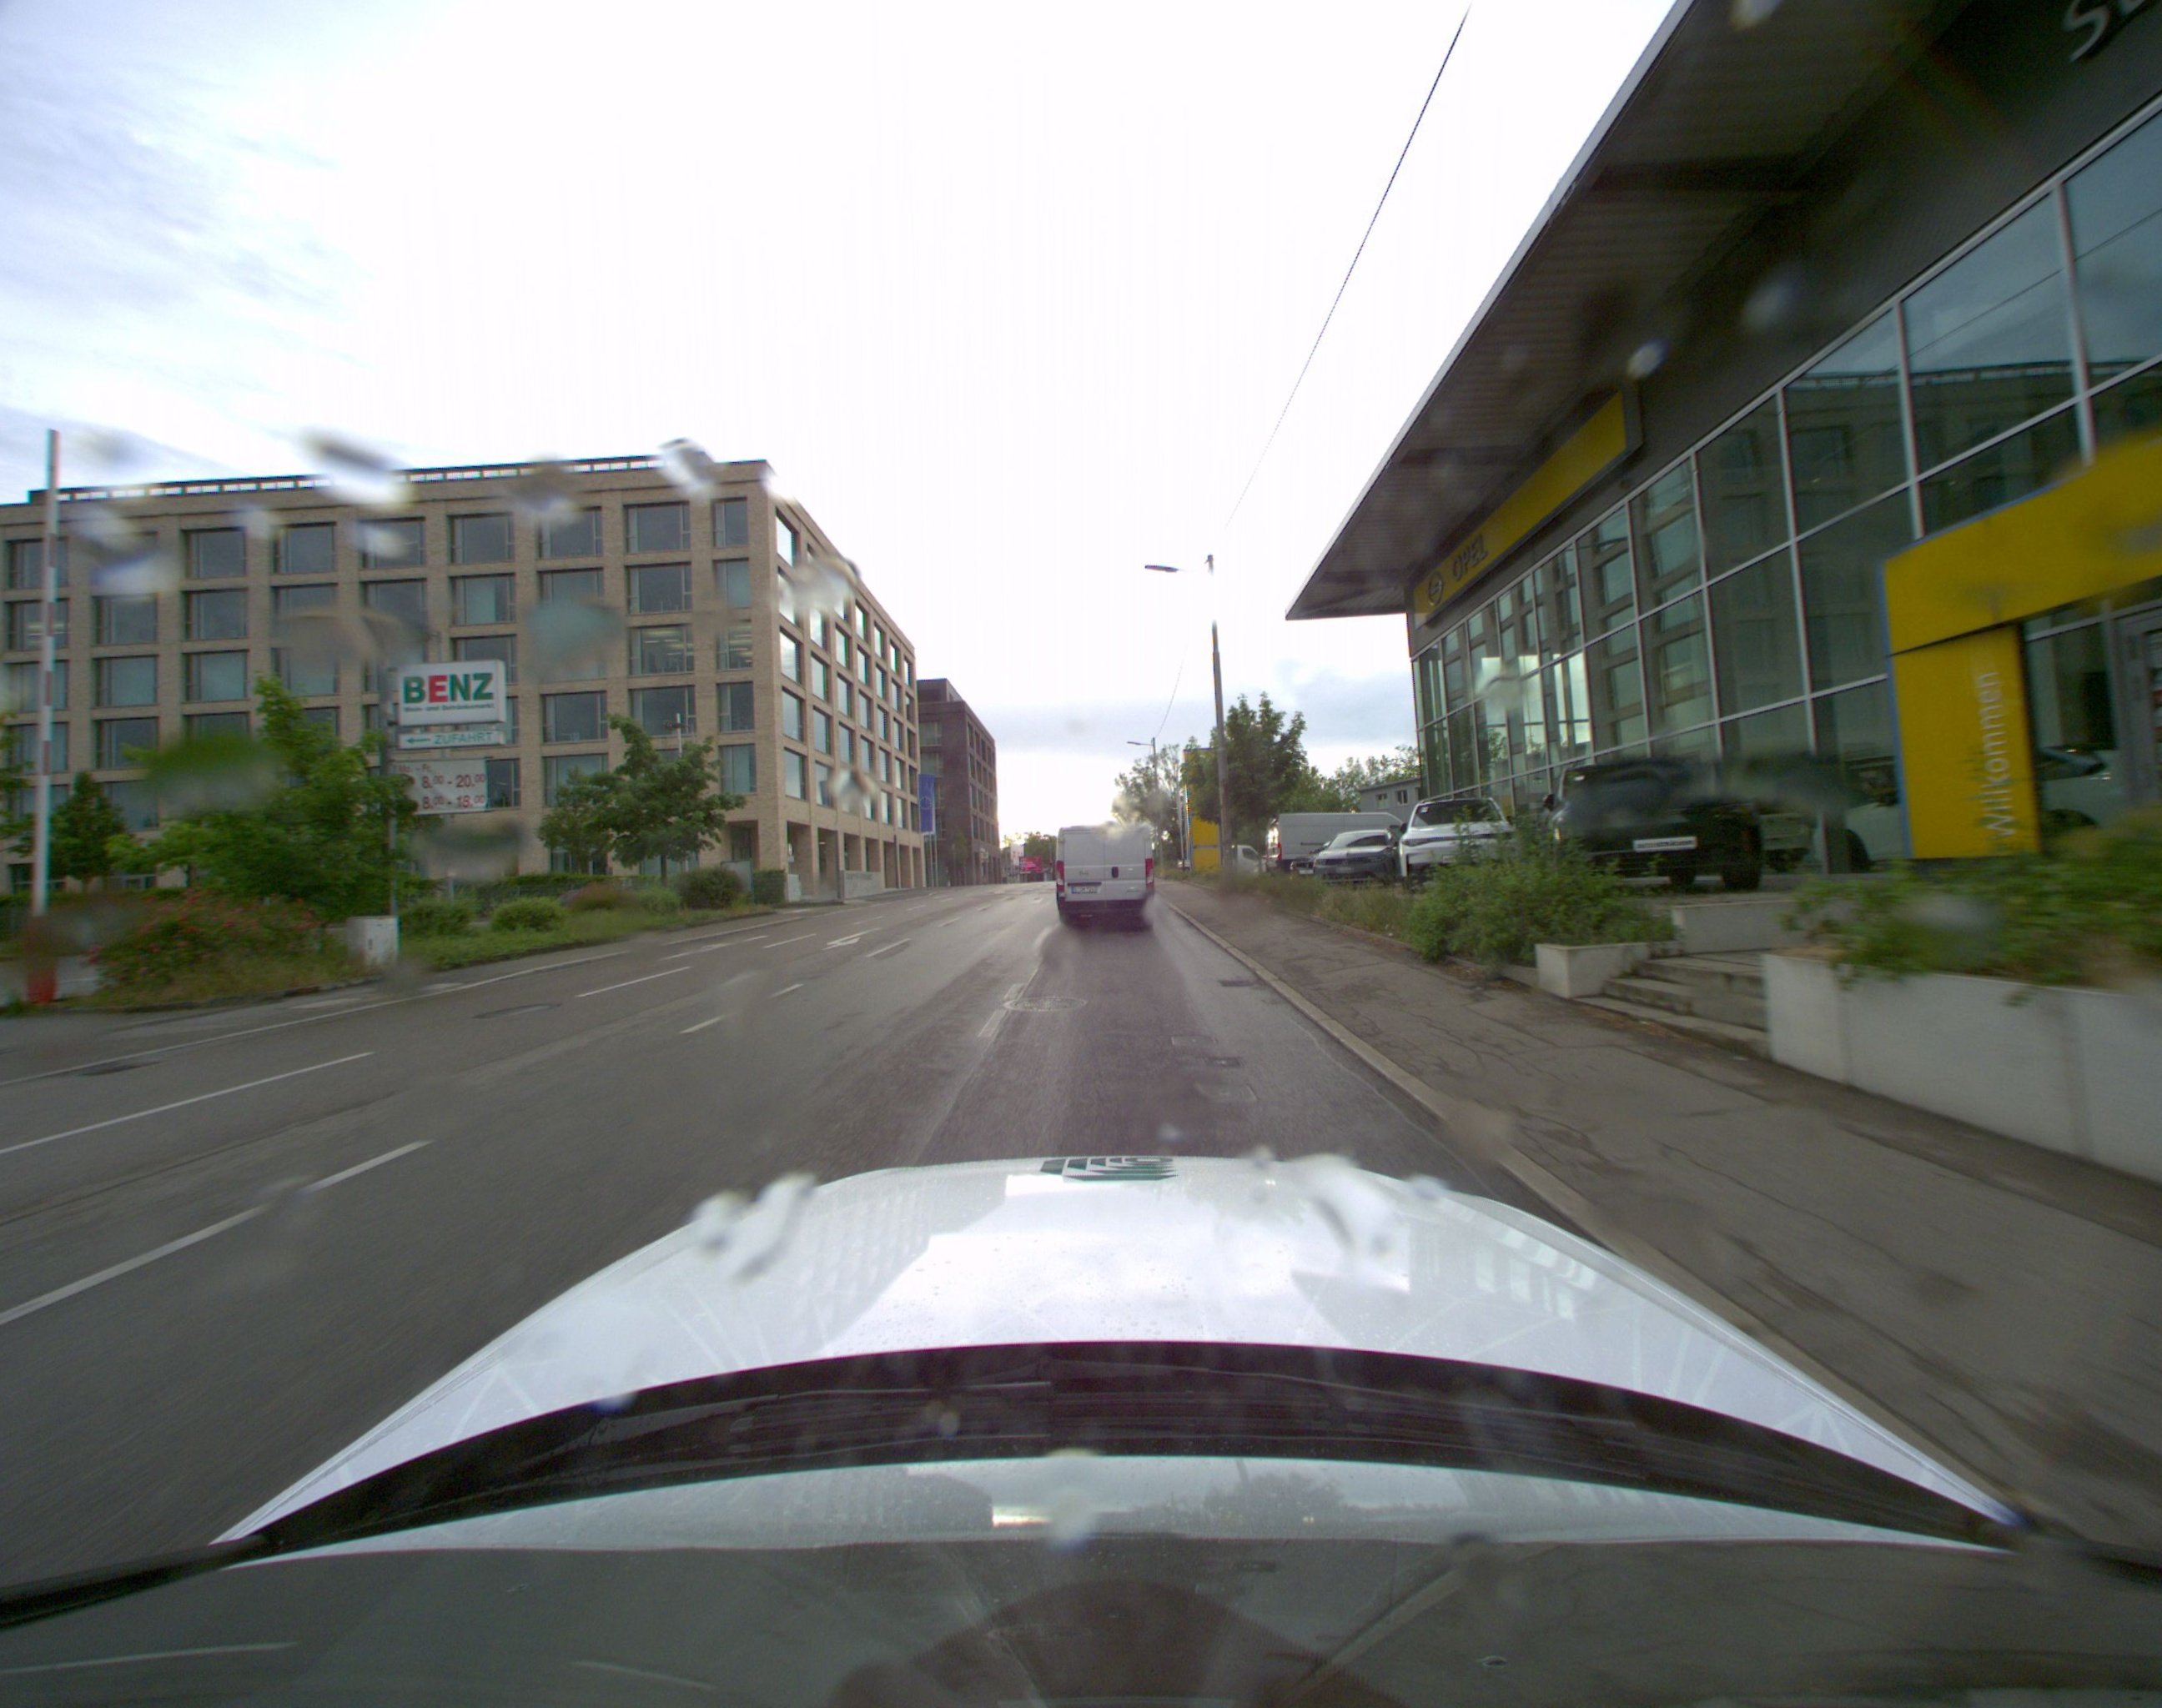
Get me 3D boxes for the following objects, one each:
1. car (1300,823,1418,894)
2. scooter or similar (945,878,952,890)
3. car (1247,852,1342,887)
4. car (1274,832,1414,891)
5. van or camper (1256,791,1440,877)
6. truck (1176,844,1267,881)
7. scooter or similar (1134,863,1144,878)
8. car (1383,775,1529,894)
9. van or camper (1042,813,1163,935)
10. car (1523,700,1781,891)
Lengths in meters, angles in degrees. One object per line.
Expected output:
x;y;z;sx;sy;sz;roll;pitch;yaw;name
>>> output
7.054;0.096;20.334;1.891;1.454;4.600;-6;-2;29;car
-12.816;2.916;78.684;0.349;1.072;1.429;-2;-3;2;scooter or similar
10.024;0.713;38.435;3.971;1.428;1.896;-3;-1;2;car
8.074;0.206;24.810;4.543;1.454;1.893;-3;-2;-41;car
9.380;-0.679;28.998;5.716;2.724;2.352;-2;-1;1;van or camper
8.556;0.493;49.871;5.132;2.013;2.344;-2;-1;-1;truck
6.149;1.782;86.257;0.436;1.588;1.263;-2;-1;-21;scooter or similar
6.872;-0.296;15.018;1.975;1.710;4.604;-5;-2;25;car
0.548;0.426;18.937;2.331;2.357;5.202;-2;-1;2;van or camper
6.783;-0.568;10.231;1.975;1.710;4.455;-6;-2;28;car
